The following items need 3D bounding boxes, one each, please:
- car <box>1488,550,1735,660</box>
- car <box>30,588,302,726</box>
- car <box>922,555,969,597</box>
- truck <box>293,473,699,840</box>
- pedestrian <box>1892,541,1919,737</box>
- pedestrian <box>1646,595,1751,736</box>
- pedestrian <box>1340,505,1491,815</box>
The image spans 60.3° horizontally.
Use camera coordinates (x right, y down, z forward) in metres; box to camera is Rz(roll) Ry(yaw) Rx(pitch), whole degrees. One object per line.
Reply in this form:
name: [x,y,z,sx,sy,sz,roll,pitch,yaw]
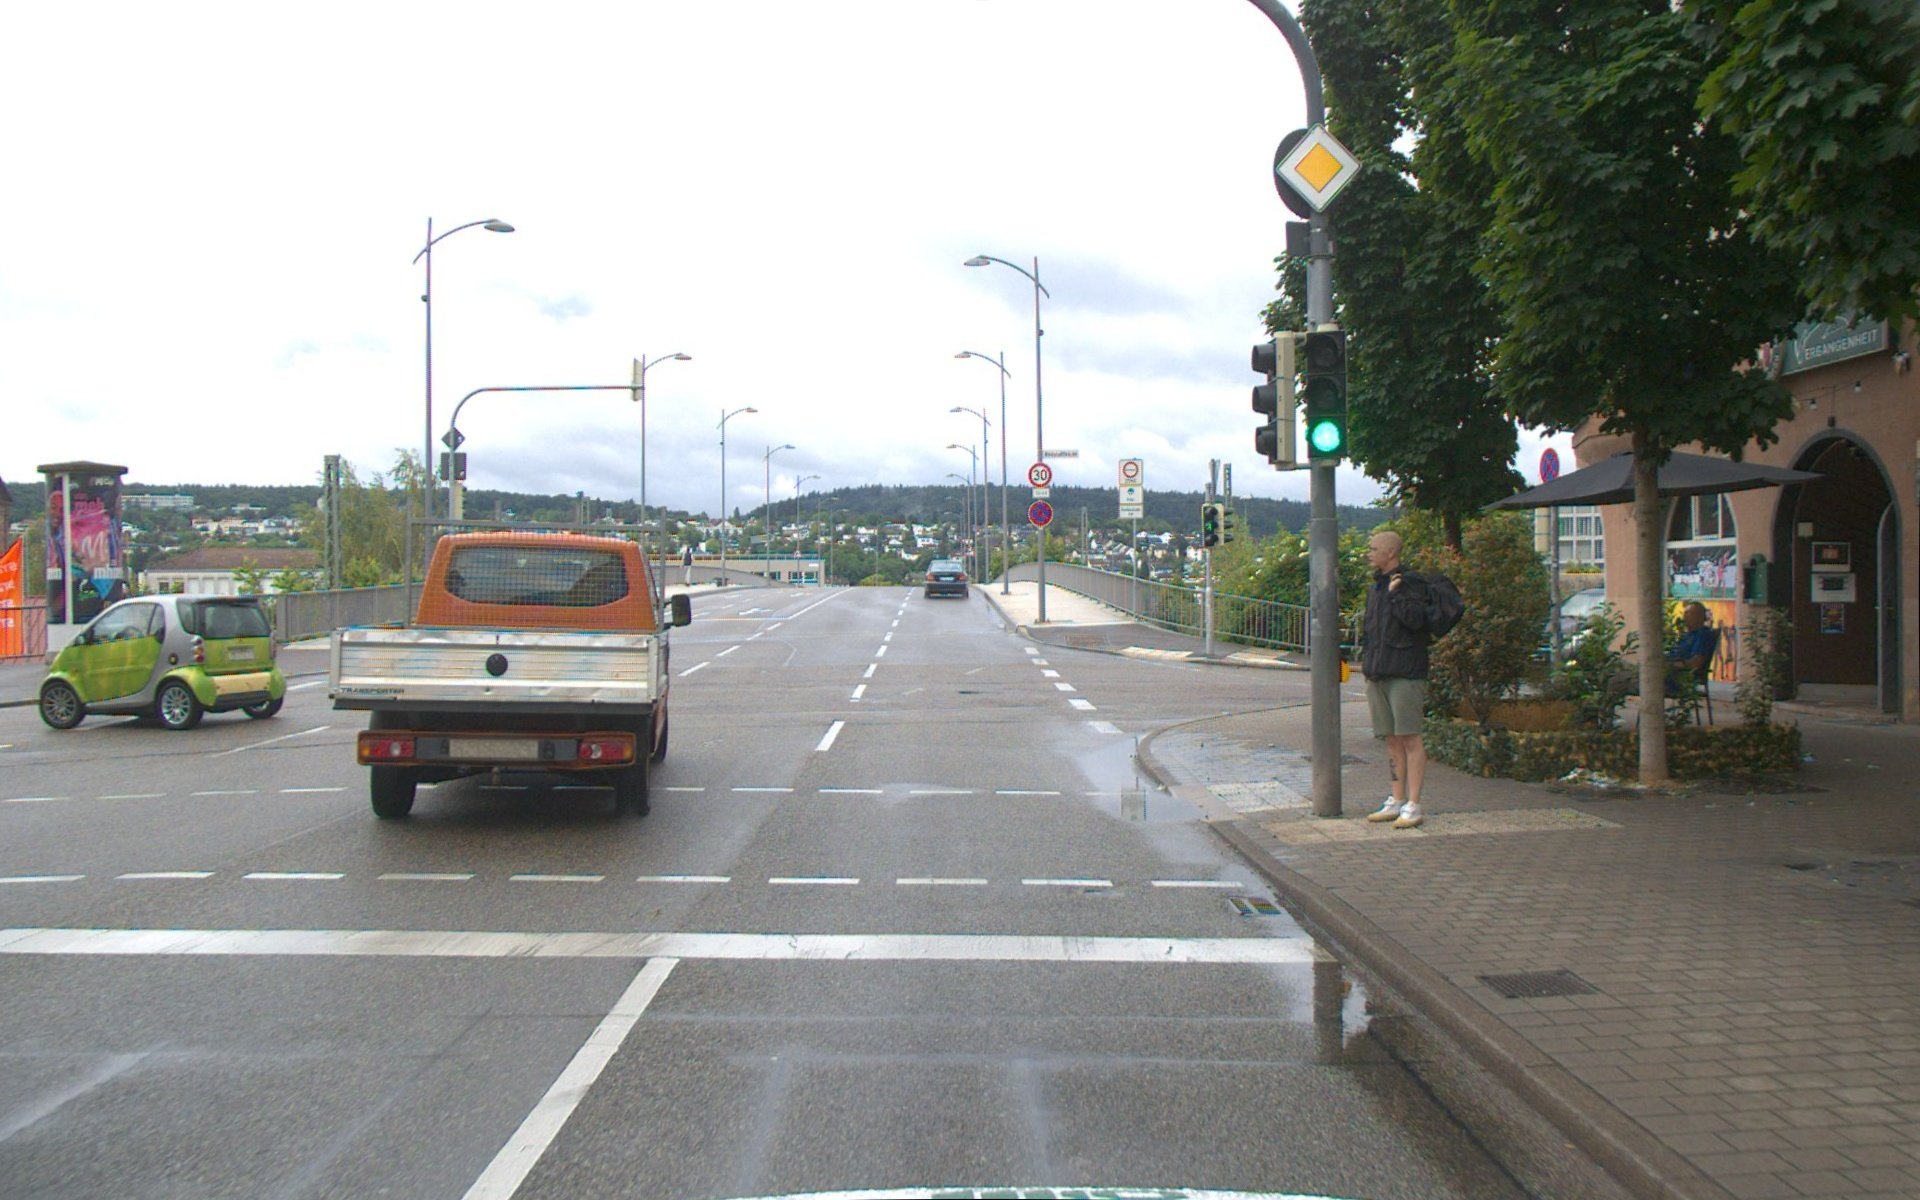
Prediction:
car: [13.259,0.126,33.643,4.681,2.049,1.985,2,0,-25]
car: [-9.575,0.678,20.011,2.601,1.574,1.532,-1,0,16]
car: [-0.555,-0.877,62.773,1.718,1.505,3.999,-1,0,-1]
truck: [-3.220,0.337,12.663,2.356,2.167,5.303,-1,0,-9]
pedestrian: [8.134,0.314,13.488,0.630,1.599,0.725,-1,0,2]
pedestrian: [6.546,0.572,14.682,0.651,1.210,0.556,-1,0,-3]
pedestrian: [2.843,0.363,10.372,0.718,1.873,0.630,-1,0,-3]
